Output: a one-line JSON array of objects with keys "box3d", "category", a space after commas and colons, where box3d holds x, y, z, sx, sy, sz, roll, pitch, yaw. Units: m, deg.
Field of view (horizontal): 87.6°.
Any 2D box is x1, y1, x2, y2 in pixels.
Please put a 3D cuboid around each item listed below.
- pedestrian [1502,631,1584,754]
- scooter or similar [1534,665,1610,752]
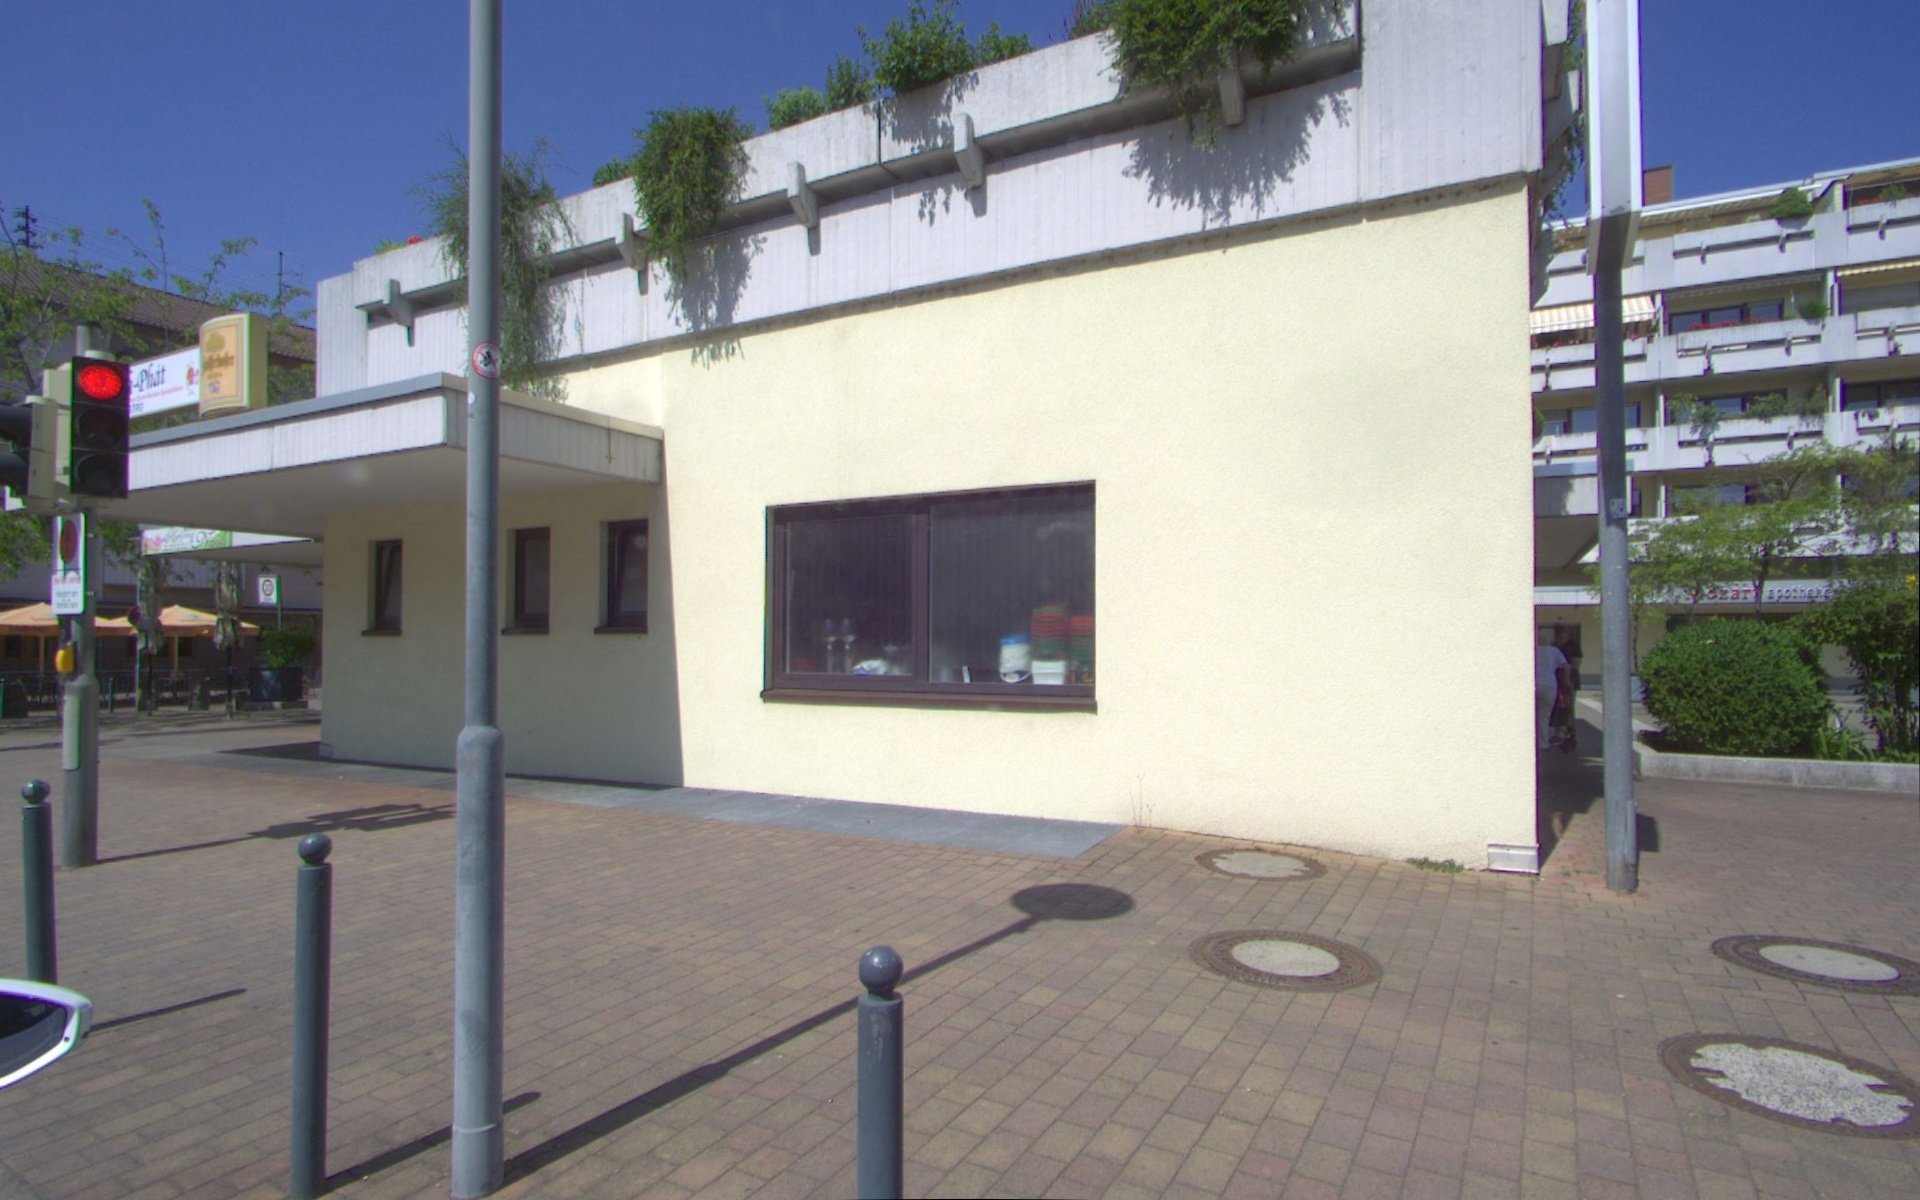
[{"box3d": [7.475, 1.156, 12.834, 0.801, 1.516, 0.615, 1, -2, -35], "category": "pedestrian"}, {"box3d": [8.110, 1.418, 13.279, 0.795, 1.088, 0.587, 2, -2, -35], "category": "scooter or similar"}]
